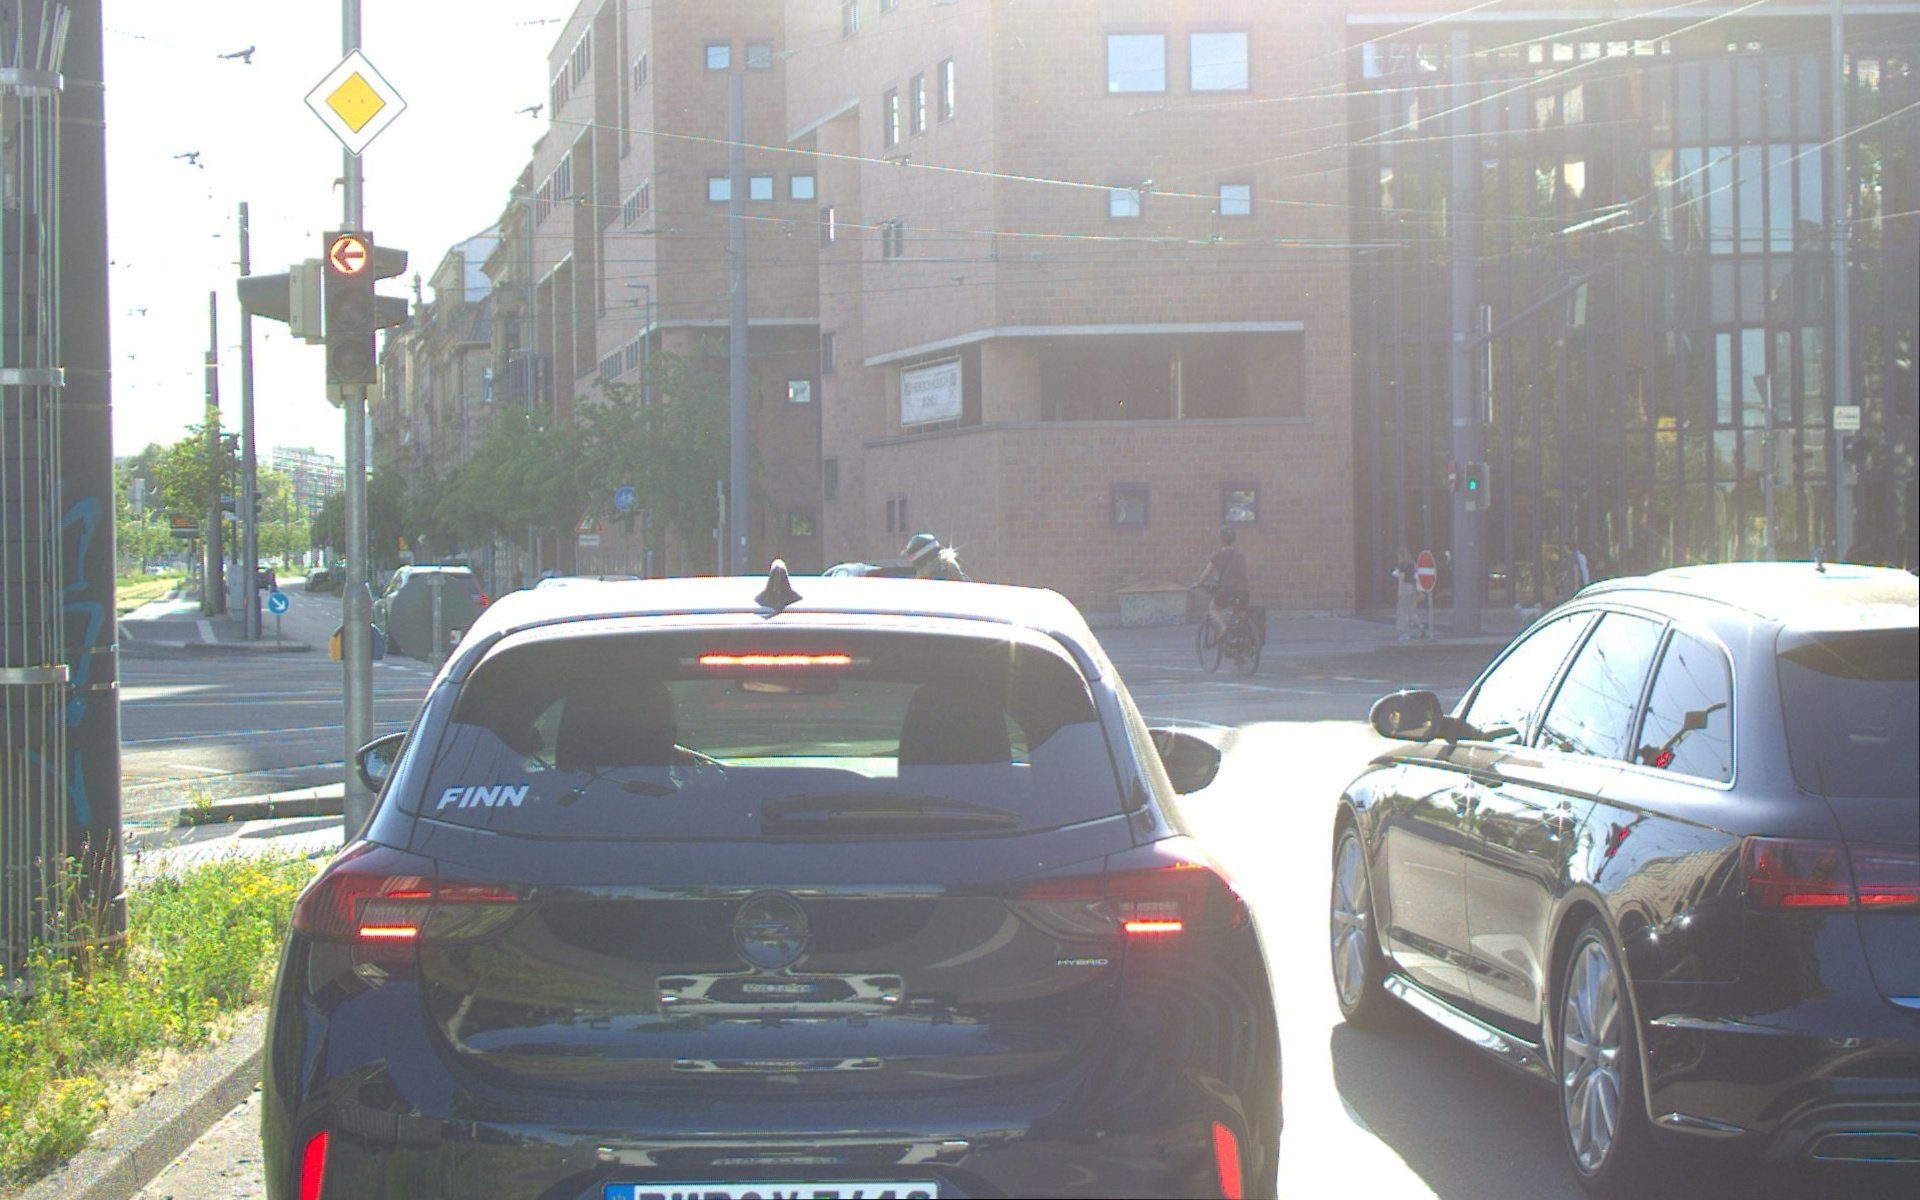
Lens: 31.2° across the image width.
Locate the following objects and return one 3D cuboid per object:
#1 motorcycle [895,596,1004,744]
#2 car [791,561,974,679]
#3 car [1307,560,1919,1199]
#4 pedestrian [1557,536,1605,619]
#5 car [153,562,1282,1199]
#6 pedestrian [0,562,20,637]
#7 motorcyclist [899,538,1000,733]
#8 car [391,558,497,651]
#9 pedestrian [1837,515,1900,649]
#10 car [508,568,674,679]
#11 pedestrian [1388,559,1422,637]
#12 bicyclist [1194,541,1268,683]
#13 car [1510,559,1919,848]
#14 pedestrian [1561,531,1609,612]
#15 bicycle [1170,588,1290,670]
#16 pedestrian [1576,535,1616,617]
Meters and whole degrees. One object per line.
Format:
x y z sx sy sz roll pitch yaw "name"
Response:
-0.067 0.547 27.784 0.775 1.111 1.969 -1 1 3 "motorcycle"
-1.066 0.231 45.233 1.807 1.452 4.001 0 1 -10 "car"
2.218 0.647 9.085 1.811 1.487 4.497 0 1 -4 "car"
12.187 -0.451 67.494 0.900 1.611 0.560 -1 1 8 "pedestrian"
-0.332 0.653 7.051 1.649 1.428 4.000 -1 1 1 "car"
-21.254 -0.014 75.684 0.743 1.634 0.766 0 1 39 "pedestrian"
-0.077 0.268 27.577 0.745 1.525 1.021 -1 1 2 "motorcyclist"
-9.659 0.058 64.183 1.737 1.645 4.001 -1 1 -12 "car"
12.028 -0.243 45.505 0.707 1.753 0.560 0 1 25 "pedestrian"
-4.852 0.276 44.768 1.737 1.345 4.001 -1 1 -12 "car"
8.242 -0.043 63.658 0.529 1.425 0.598 -1 1 -1 "pedestrian"
3.450 0.143 43.835 0.577 1.785 0.864 -1 1 -23 "bicyclist"
4.478 0.512 19.637 1.807 1.452 4.001 0 1 -3 "car"
12.429 -0.569 68.367 0.900 1.611 0.560 -1 1 8 "pedestrian"
3.436 0.363 43.945 0.491 0.994 2.328 -1 1 -23 "bicycle"
12.759 -0.484 68.957 0.738 1.611 0.560 -1 1 8 "pedestrian"
